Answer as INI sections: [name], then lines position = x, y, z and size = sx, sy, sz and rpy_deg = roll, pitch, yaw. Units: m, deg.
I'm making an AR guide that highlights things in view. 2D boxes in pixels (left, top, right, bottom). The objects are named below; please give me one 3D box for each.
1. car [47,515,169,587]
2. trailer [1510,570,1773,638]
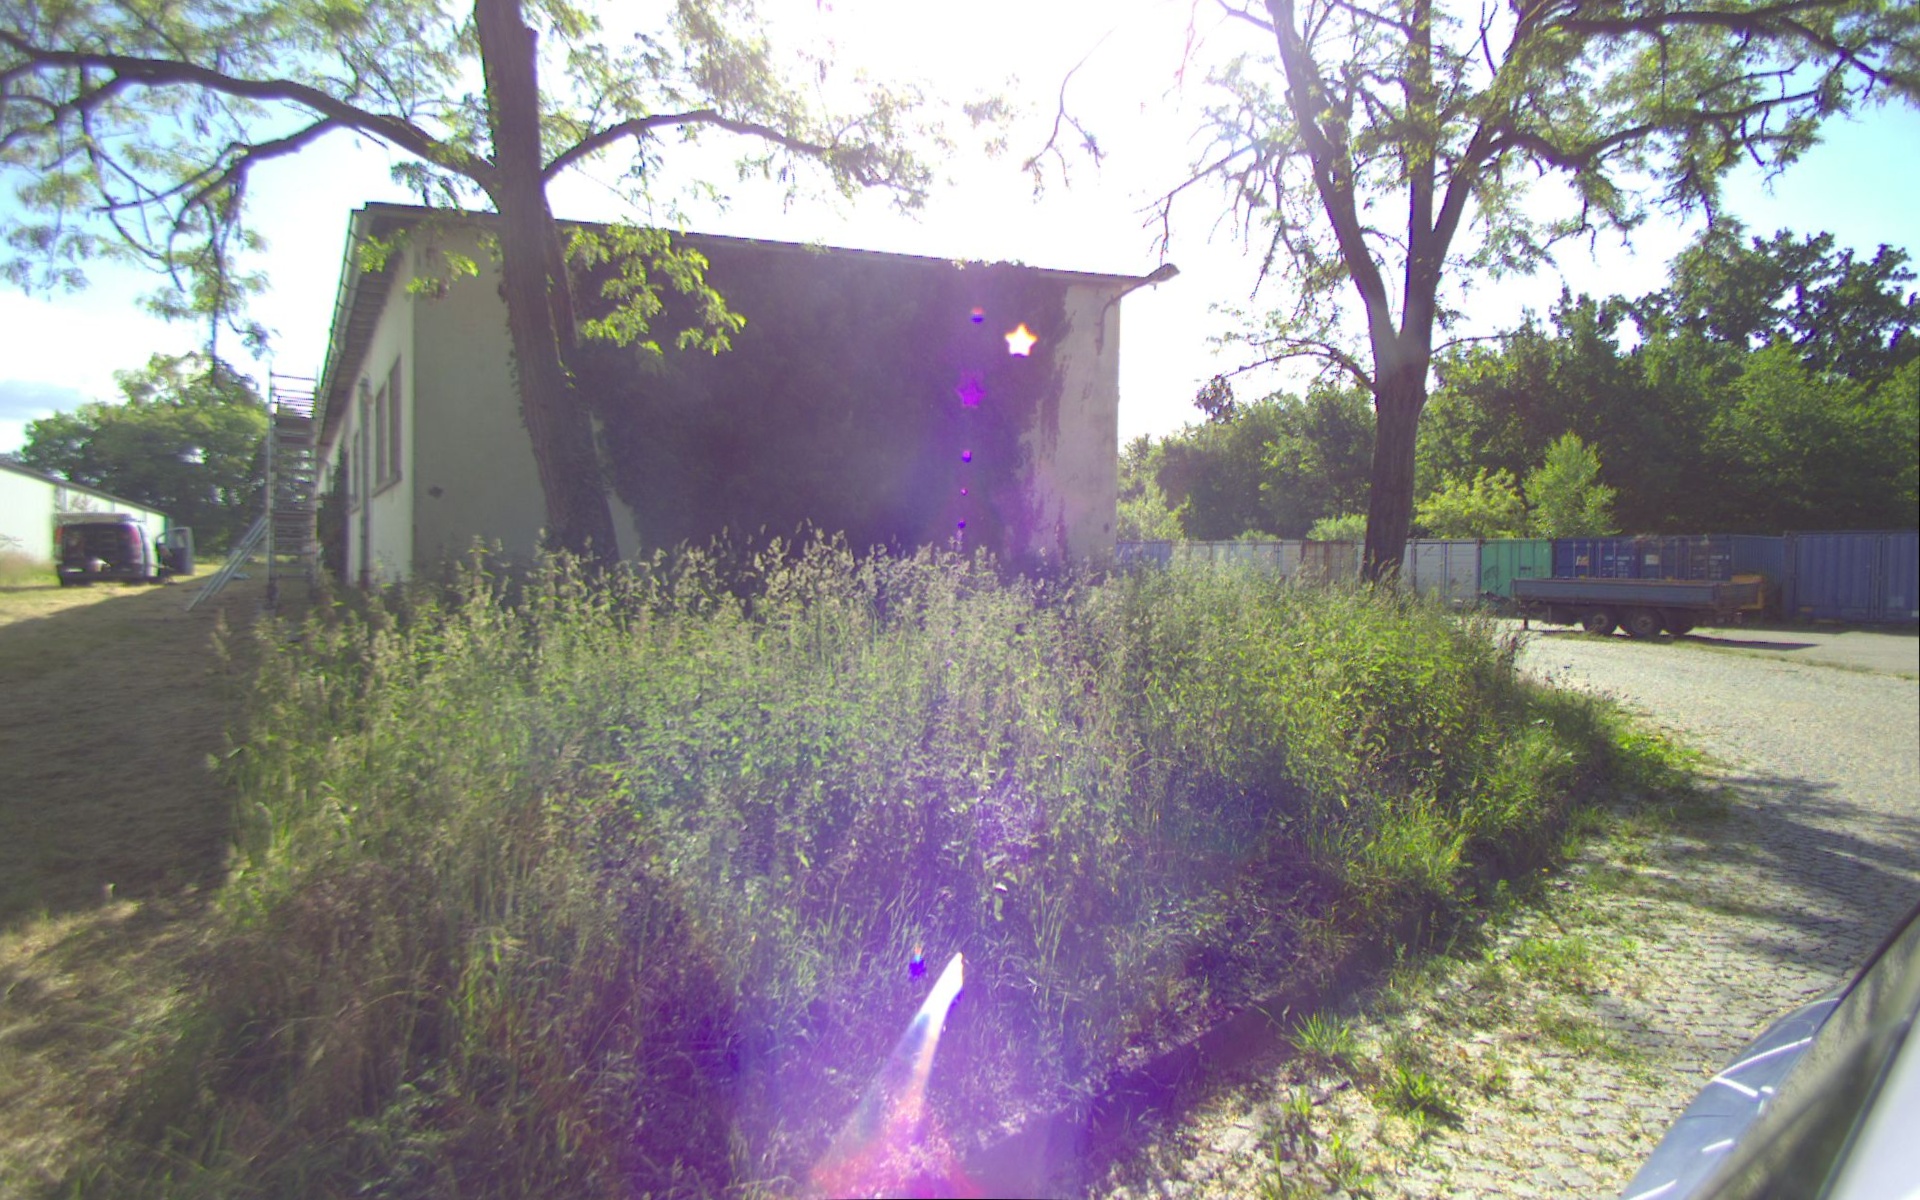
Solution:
[car]
position = -23.926, -1.398, 28.594
size = 2.039, 1.852, 4.277
rpy_deg = -3, 4, -33
[trailer]
position = 16.986, 0.001, 25.462
size = 2.598, 1.431, 4.865
rpy_deg = -1, 3, -34
